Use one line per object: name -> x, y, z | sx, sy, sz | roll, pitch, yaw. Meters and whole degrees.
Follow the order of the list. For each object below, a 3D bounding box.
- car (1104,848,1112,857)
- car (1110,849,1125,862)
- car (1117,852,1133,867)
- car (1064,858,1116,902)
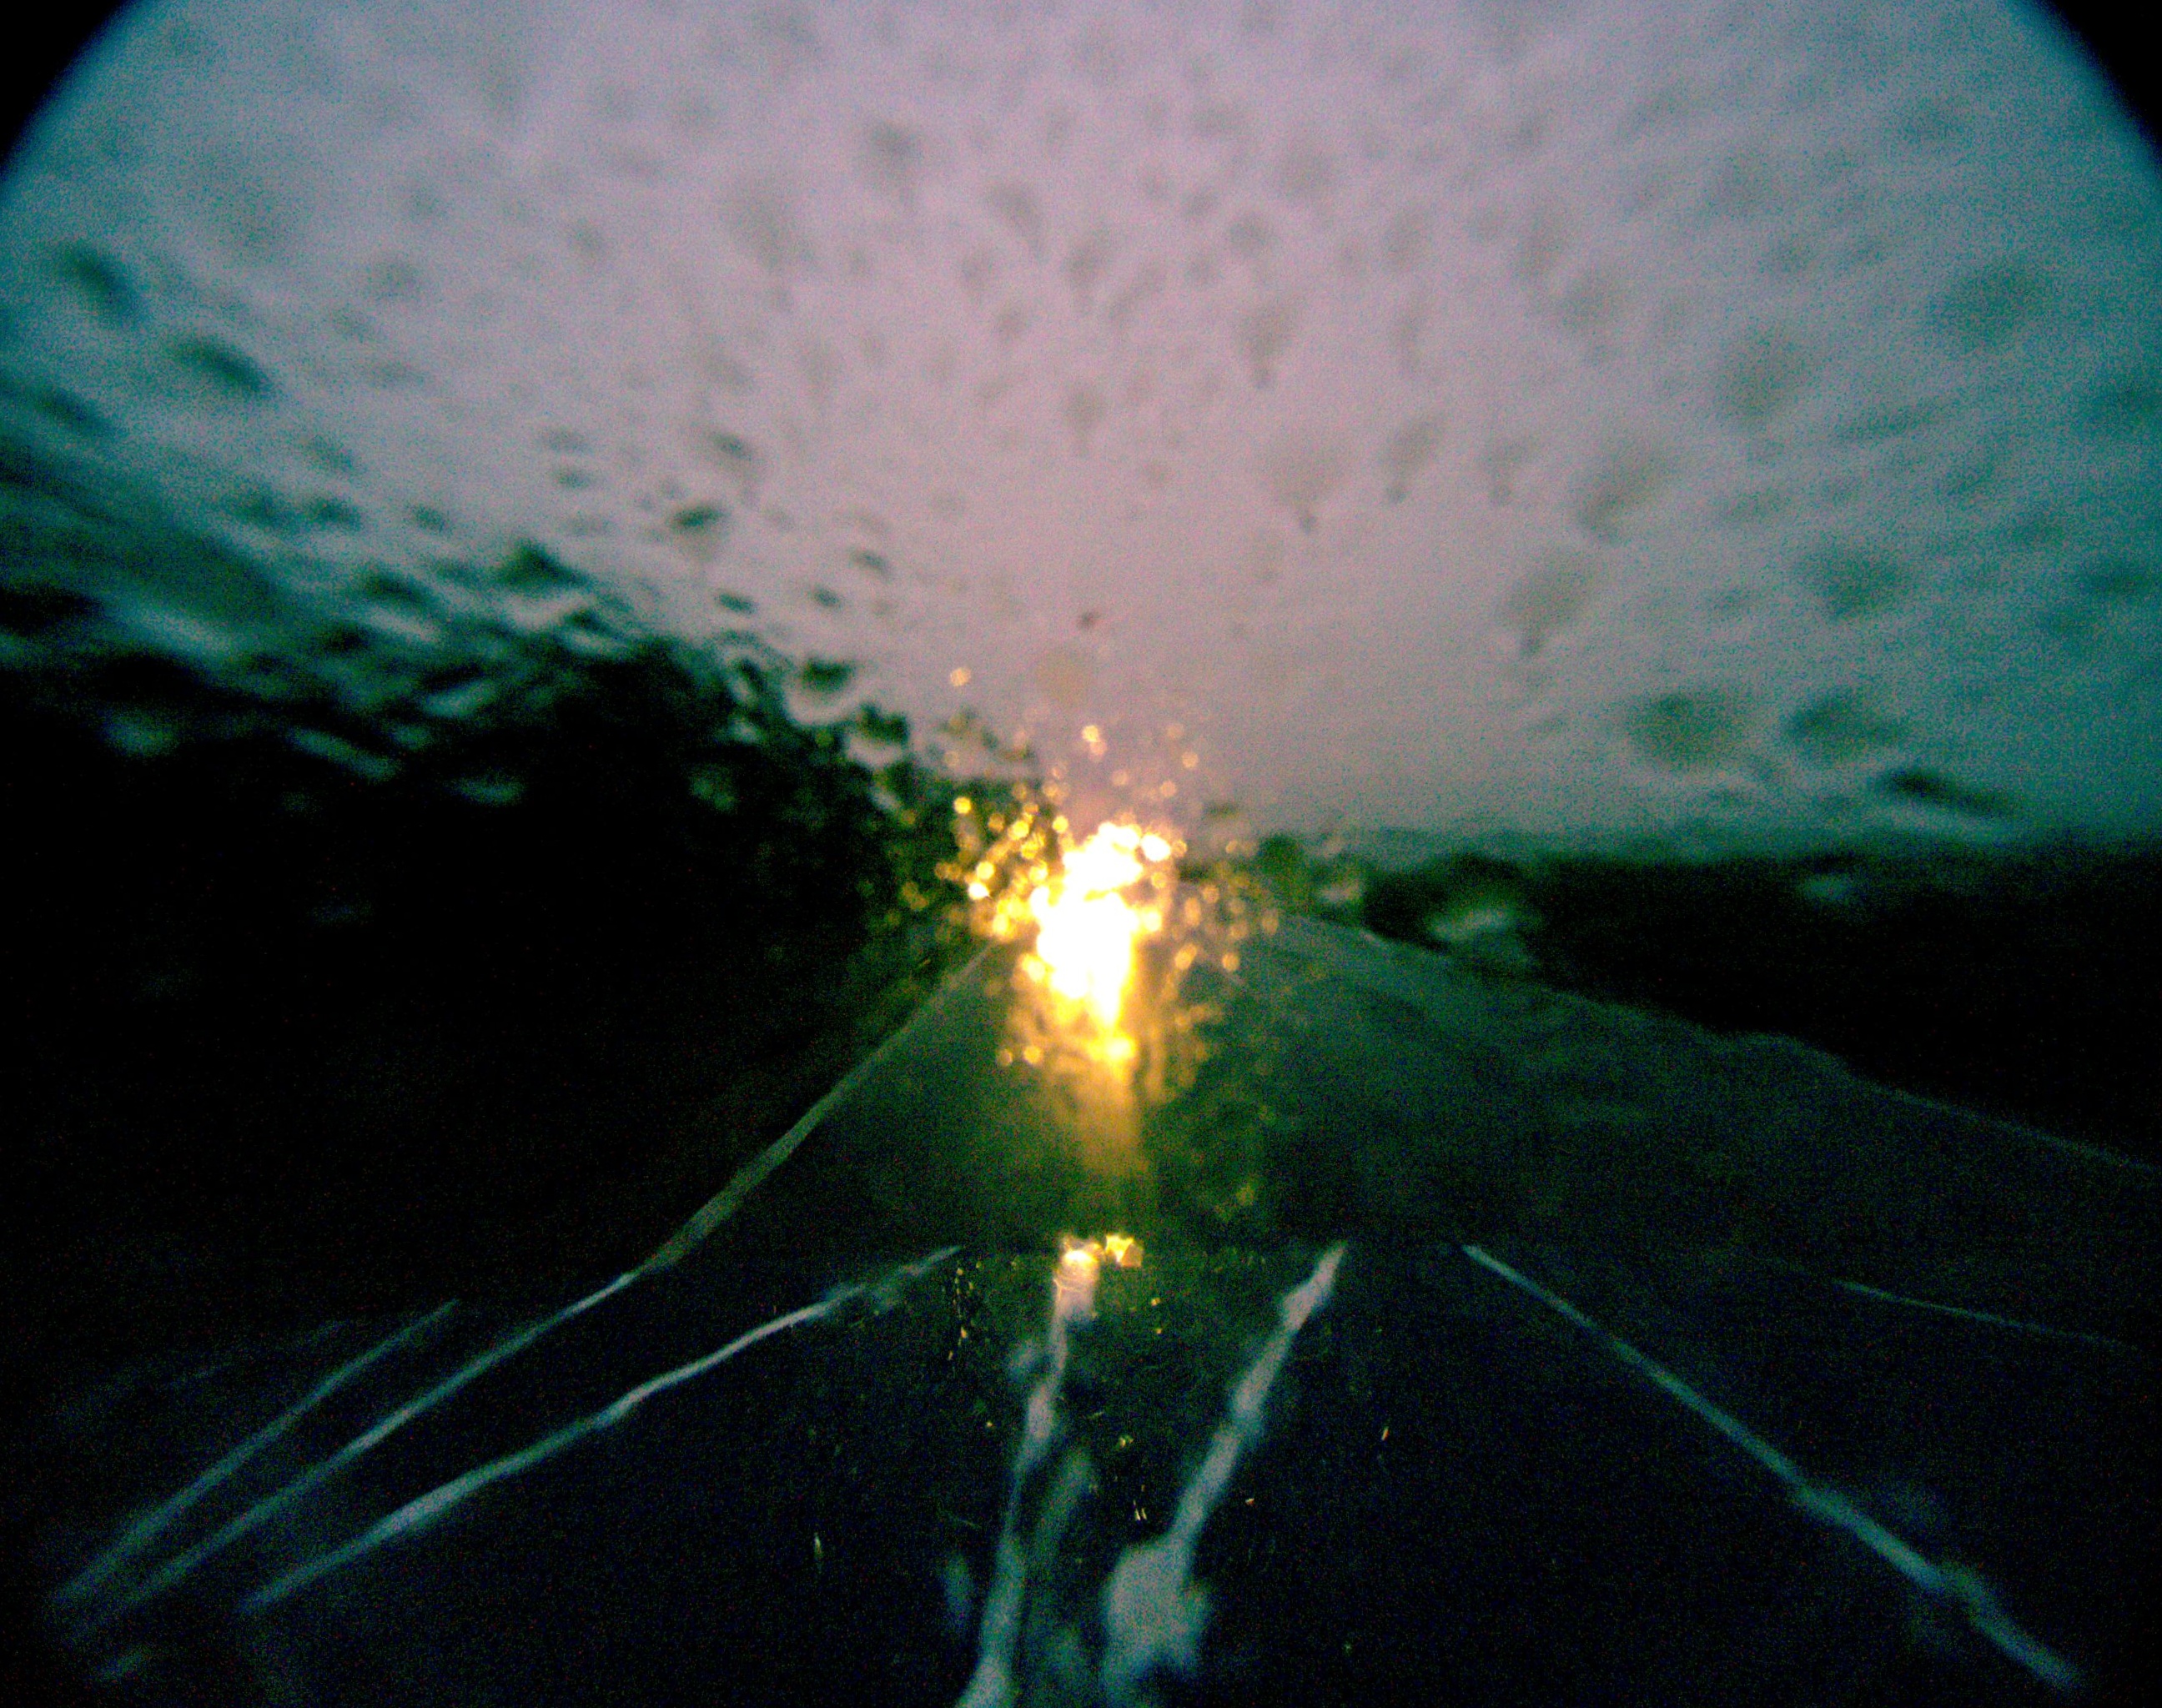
car -> 5.995, -0.294, 168.610 | 1.871, 2.041, 4.293 | 0, 1, 1
car -> 5.406, 0.194, 113.261 | 1.998, 1.860, 4.952 | 1, 0, 1
car -> 5.234, 0.642, 90.800 | 1.733, 1.637, 4.261 | 2, 0, 1
car -> 0.332, 0.969, 29.819 | 1.844, 1.484, 3.955 | -2, 1, 0
